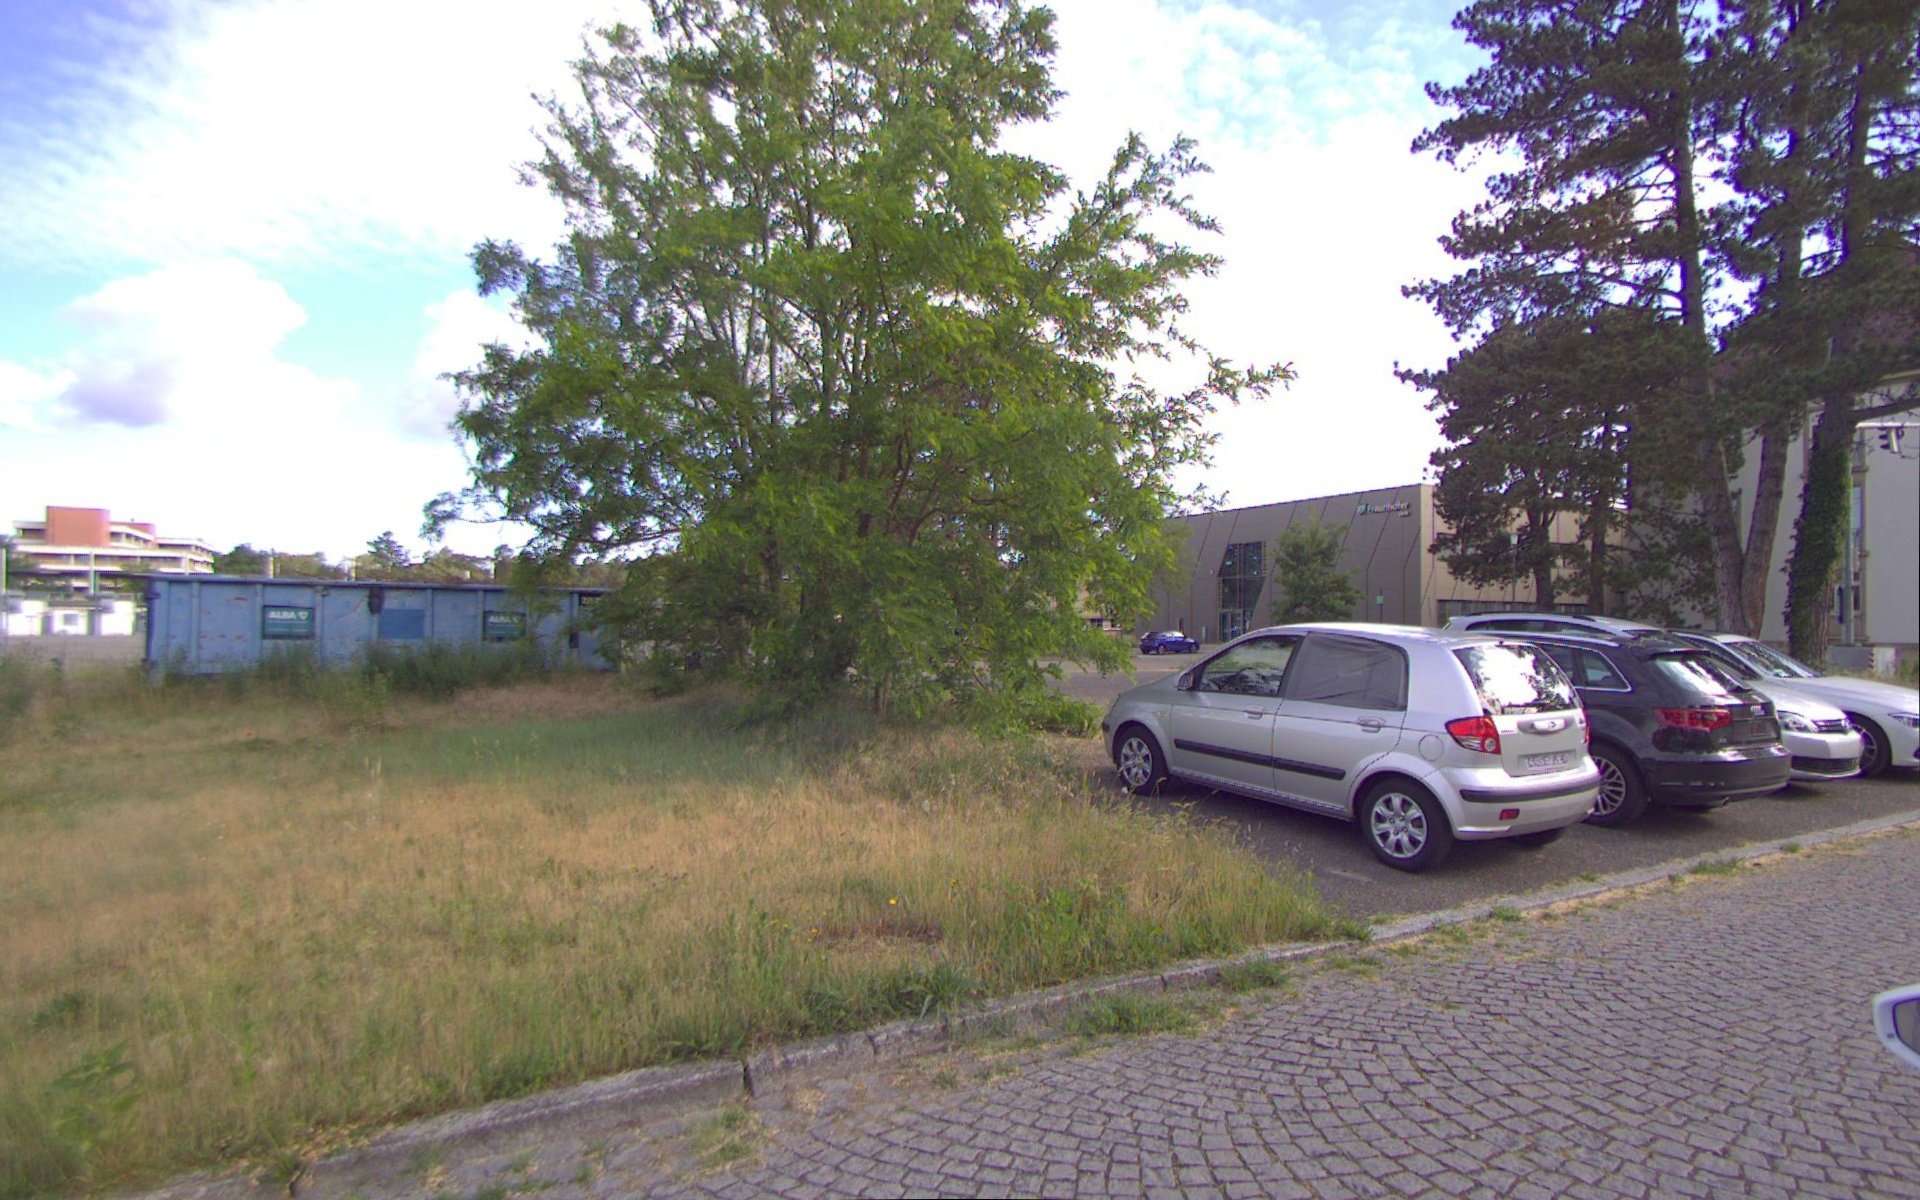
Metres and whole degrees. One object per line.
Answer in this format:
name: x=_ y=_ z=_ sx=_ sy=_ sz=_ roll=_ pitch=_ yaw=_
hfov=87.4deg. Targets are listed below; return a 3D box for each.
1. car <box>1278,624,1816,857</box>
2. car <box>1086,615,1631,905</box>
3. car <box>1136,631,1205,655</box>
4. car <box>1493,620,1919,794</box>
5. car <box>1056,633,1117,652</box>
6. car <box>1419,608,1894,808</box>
car: x=4.912 y=1.018 z=8.976 sx=1.675 sy=1.427 sz=3.817 roll=1 pitch=1 yaw=-30
car: x=2.721 y=0.943 z=7.614 sx=1.629 sy=1.495 sz=3.557 roll=1 pitch=1 yaw=-31
car: x=13.299 y=2.695 z=63.303 sx=4.077 sy=1.433 sz=1.752 roll=1 pitch=-2 yaw=-27
car: x=9.150 y=1.112 z=12.132 sx=1.810 sy=1.461 sz=4.452 roll=1 pitch=2 yaw=-32
car: x=9.038 y=3.034 z=71.444 sx=4.142 sy=1.289 sz=1.600 roll=1 pitch=-2 yaw=-27
car: x=7.190 y=0.967 z=10.775 sx=1.716 sy=1.628 sz=3.810 roll=1 pitch=1 yaw=-32
